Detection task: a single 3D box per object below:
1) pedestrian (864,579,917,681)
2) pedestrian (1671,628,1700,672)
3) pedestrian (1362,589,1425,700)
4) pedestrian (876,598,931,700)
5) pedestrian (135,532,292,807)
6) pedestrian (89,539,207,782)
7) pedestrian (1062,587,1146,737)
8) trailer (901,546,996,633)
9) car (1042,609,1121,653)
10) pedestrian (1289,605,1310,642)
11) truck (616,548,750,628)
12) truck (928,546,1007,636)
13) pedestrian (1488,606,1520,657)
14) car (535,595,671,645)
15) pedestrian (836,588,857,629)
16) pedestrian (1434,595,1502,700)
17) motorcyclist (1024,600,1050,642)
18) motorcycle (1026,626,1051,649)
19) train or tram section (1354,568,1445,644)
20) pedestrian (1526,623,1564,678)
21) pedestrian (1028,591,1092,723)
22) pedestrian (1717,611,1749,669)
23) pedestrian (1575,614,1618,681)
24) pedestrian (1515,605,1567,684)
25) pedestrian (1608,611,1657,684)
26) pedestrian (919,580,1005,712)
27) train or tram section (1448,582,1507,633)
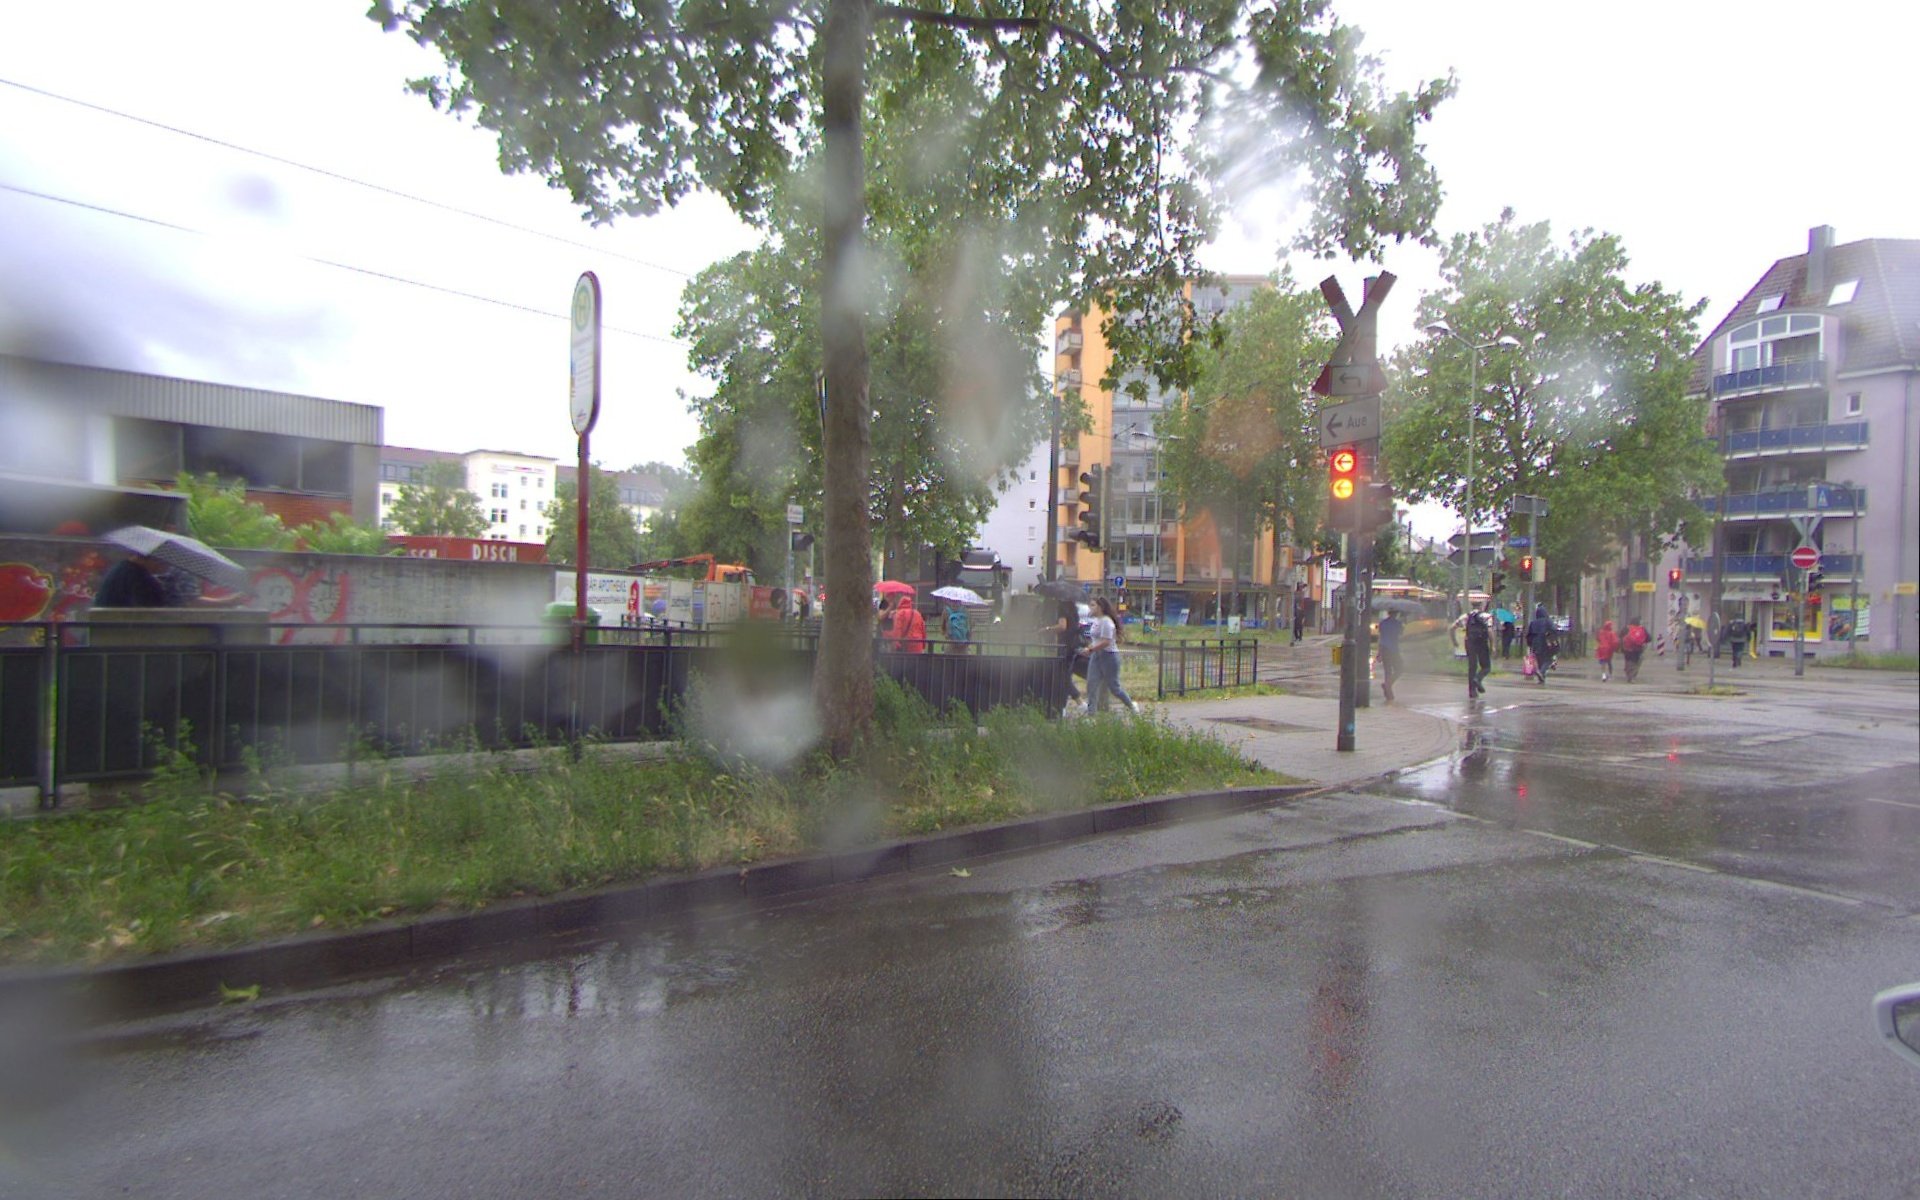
[{"bbox_3d":[-1.334,0.560,19.181,0.768,1.891,0.936,2,0,-18],"label":"pedestrian"},{"bbox_3d":[24.352,1.664,33.737,0.638,1.414,0.782,1,0,26],"label":"pedestrian"},{"bbox_3d":[7.608,0.759,17.680,0.854,1.889,0.892,1,0,16],"label":"pedestrian"},{"bbox_3d":[-0.904,0.781,16.240,0.782,1.593,0.659,-2,0,2],"label":"pedestrian"},{"bbox_3d":[-5.384,0.461,7.239,0.837,1.828,0.818,1,1,-41],"label":"pedestrian"},{"bbox_3d":[-5.153,0.363,6.372,0.603,1.446,0.492,2,0,44],"label":"pedestrian"},{"bbox_3d":[1.770,0.729,12.319,0.675,1.752,0.752,2,1,42],"label":"pedestrian"},{"bbox_3d":[-0.816,-0.470,50.750,2.593,3.899,10.114,2,0,-13],"label":"trailer"},{"bbox_3d":[4.824,1.207,40.489,1.585,1.551,4.017,1,1,-19],"label":"car"},{"bbox_3d":[16.918,1.171,50.012,0.941,1.789,0.952,2,0,20],"label":"pedestrian"},{"bbox_3d":[-11.970,-0.495,43.612,5.383,3.205,2.164,2,0,-16],"label":"truck"},{"bbox_3d":[0.277,-0.394,46.059,2.593,3.842,4.444,2,0,-13],"label":"truck"},{"bbox_3d":[19.669,1.141,36.341,0.943,1.789,0.951,2,0,31],"label":"pedestrian"},{"bbox_3d":[-10.425,0.573,29.406,3.447,1.323,1.405,2,0,10],"label":"car"},{"bbox_3d":[-5.290,0.398,46.710,0.765,1.891,0.940,2,0,4],"label":"pedestrian"},{"bbox_3d":[8.939,0.813,17.665,0.855,1.778,0.826,2,1,41],"label":"pedestrian"},{"bbox_3d":[3.050,0.831,39.656,0.767,1.635,0.773,2,0,-16],"label":"motorcyclist"},{"bbox_3d":[3.091,1.459,39.626,0.435,0.853,1.542,2,0,-16],"label":"motorcycle"},{"bbox_3d":[25.988,0.449,58.701,2.839,3.818,17.211,2,0,30],"label":"train or tram section"},{"bbox_3d":[15.124,1.295,25.955,0.704,1.367,0.650,1,1,-44],"label":"pedestrian"},{"bbox_3d":[1.352,0.750,13.478,0.782,1.705,0.660,-2,0,8],"label":"pedestrian"},{"bbox_3d":[25.702,1.326,33.397,0.777,1.880,0.679,2,1,37],"label":"pedestrian"},{"bbox_3d":[15.071,1.112,23.789,0.653,1.540,0.677,1,0,-38],"label":"pedestrian"},{"bbox_3d":[12.925,0.982,22.352,0.823,1.721,0.689,-2,0,17],"label":"pedestrian"},{"bbox_3d":[15.569,1.077,23.267,0.809,1.646,0.724,0,0,-37],"label":"pedestrian"},{"bbox_3d":[0.052,0.664,14.744,0.966,1.851,1.077,-2,0,15],"label":"pedestrian"},{"bbox_3d":[40.423,0.632,78.139,2.819,3.593,15.338,2,0,32],"label":"train or tram section"}]
